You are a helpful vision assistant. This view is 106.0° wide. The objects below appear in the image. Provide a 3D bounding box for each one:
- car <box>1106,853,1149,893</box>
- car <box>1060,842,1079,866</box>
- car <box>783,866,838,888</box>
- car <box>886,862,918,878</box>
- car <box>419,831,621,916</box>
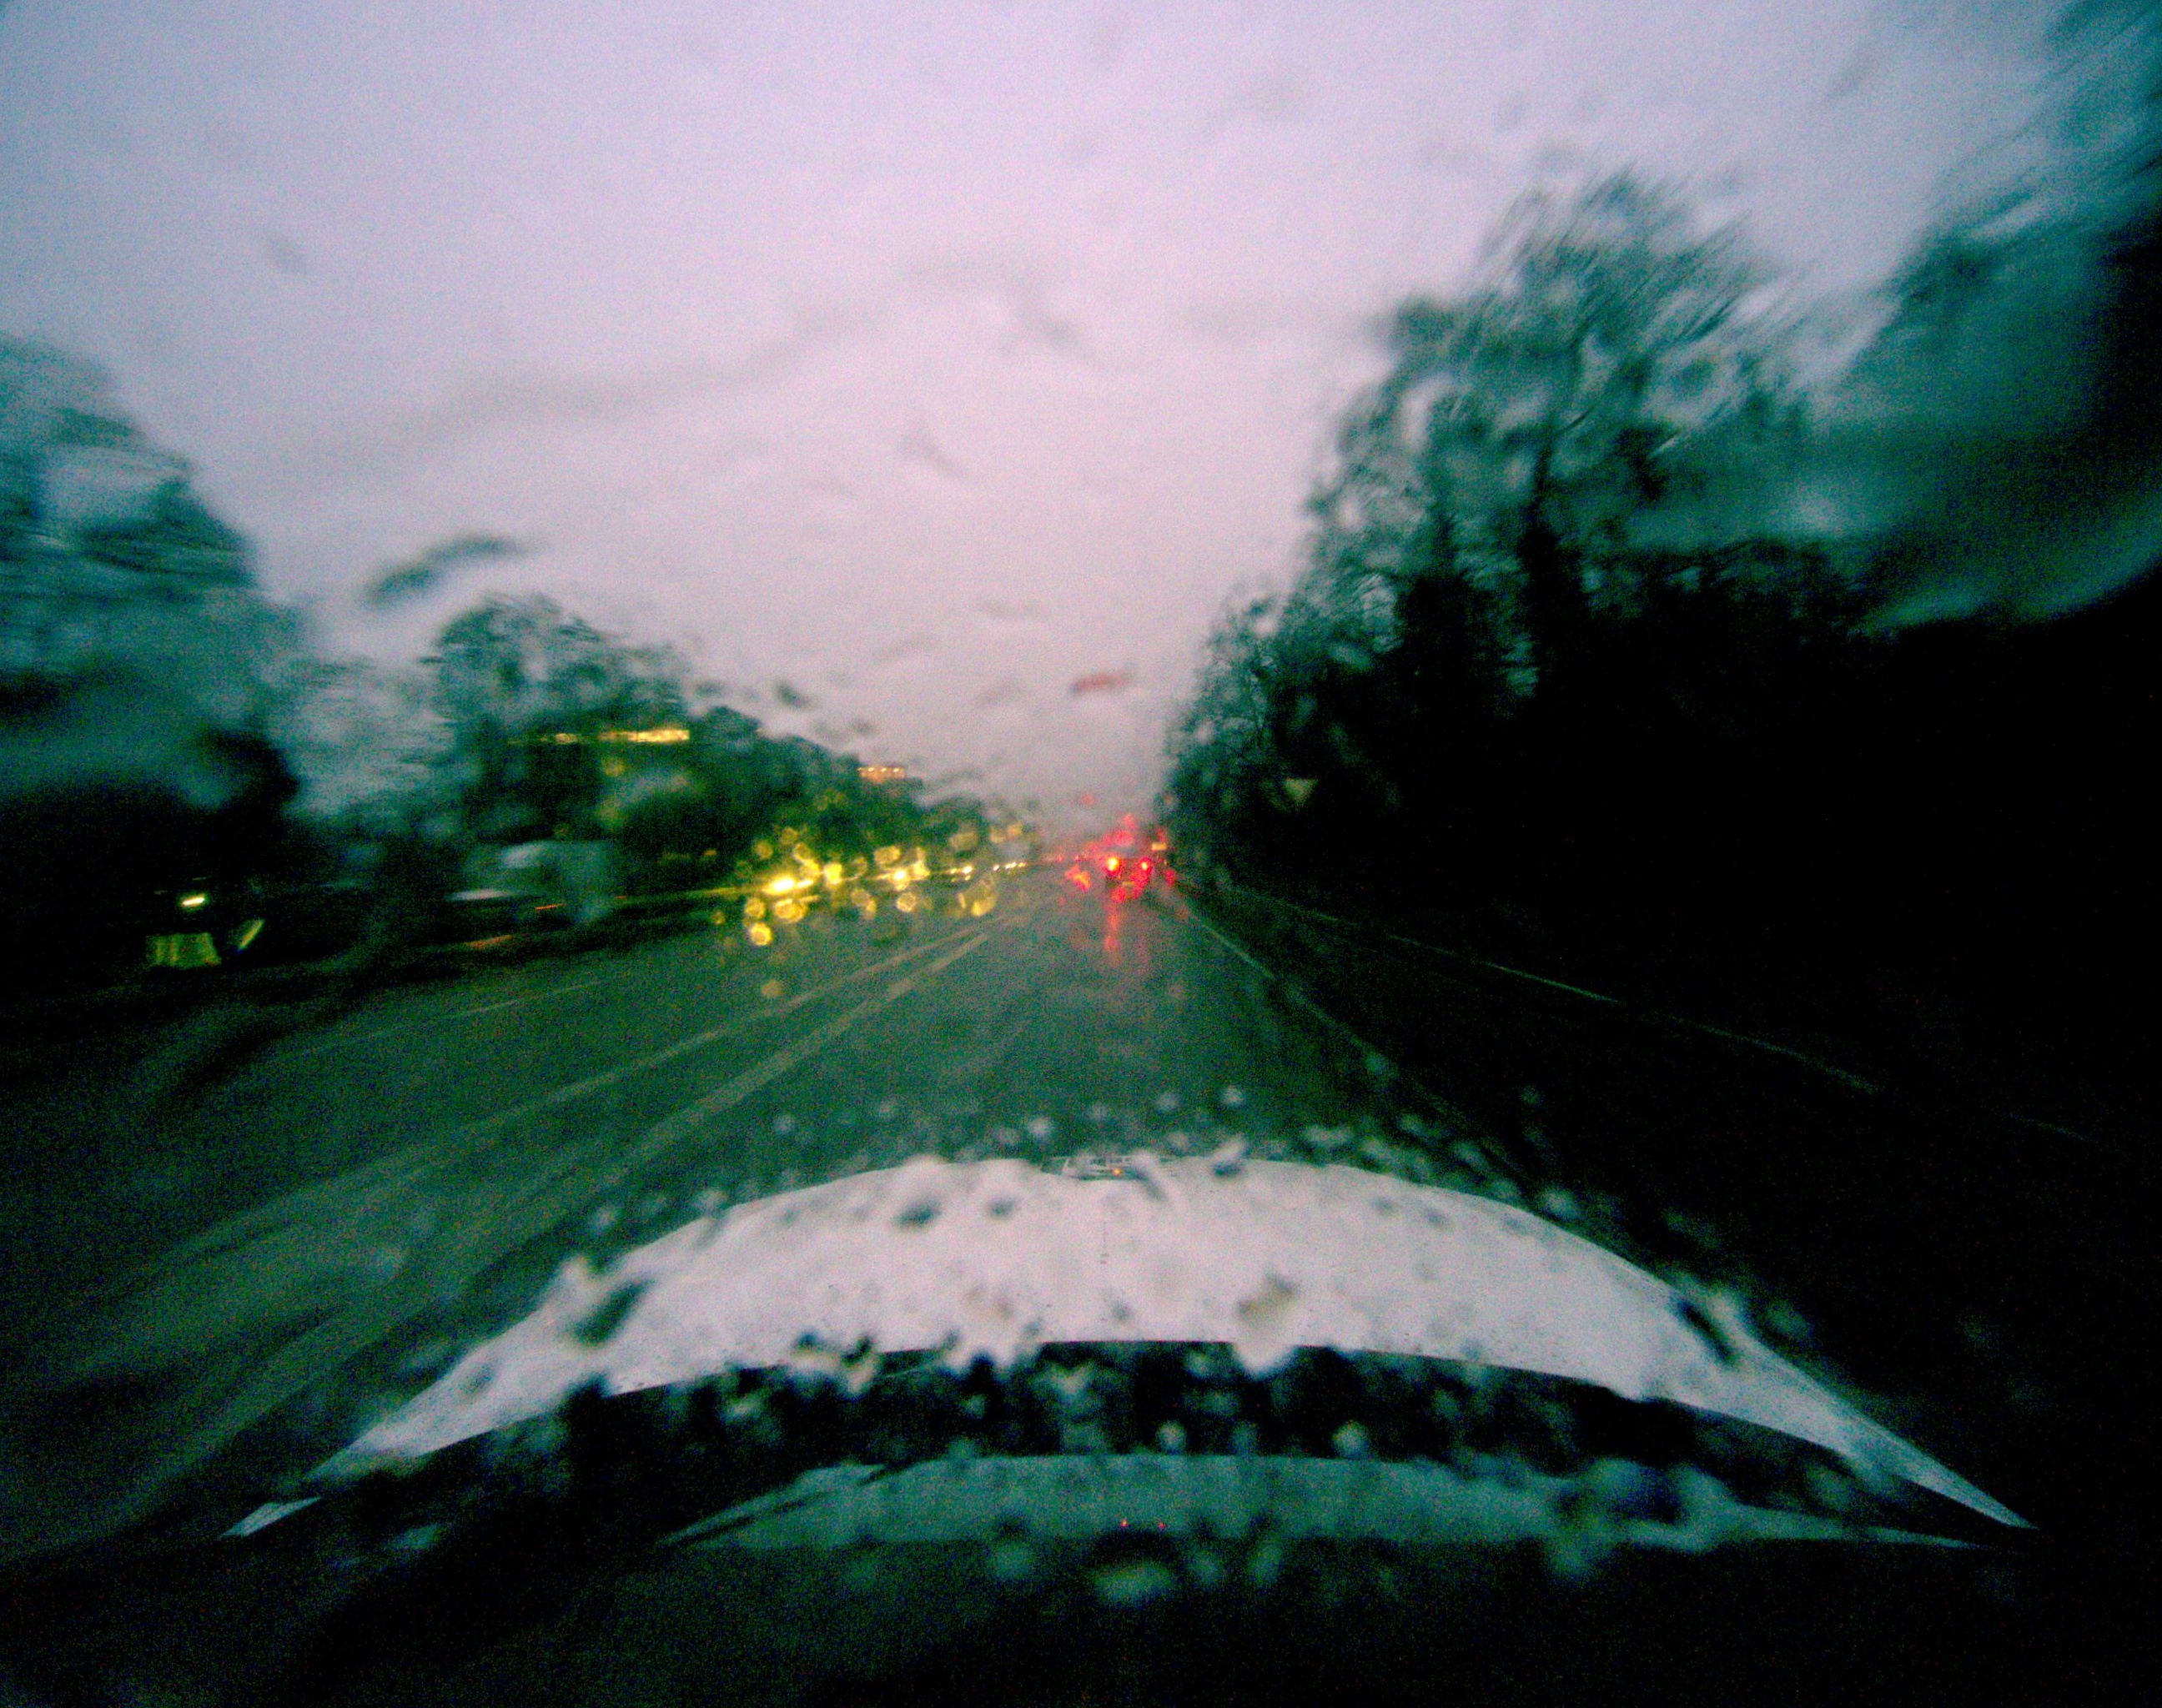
[{"bbox_3d":[1.697,0.670,30.521,1.521,1.415,3.480,0,0,2],"label":"car"},{"bbox_3d":[-1.247,0.015,87.395,1.994,2.453,3.999,0,0,0],"label":"car"},{"bbox_3d":[-17.419,1.445,52.614,1.702,1.321,4.479,0,0,5],"label":"car"},{"bbox_3d":[-15.988,1.406,73.001,1.538,1.321,4.263,0,0,5],"label":"car"},{"bbox_3d":[-19.848,0.613,29.377,2.515,2.730,6.349,0,0,5],"label":"car"}]
